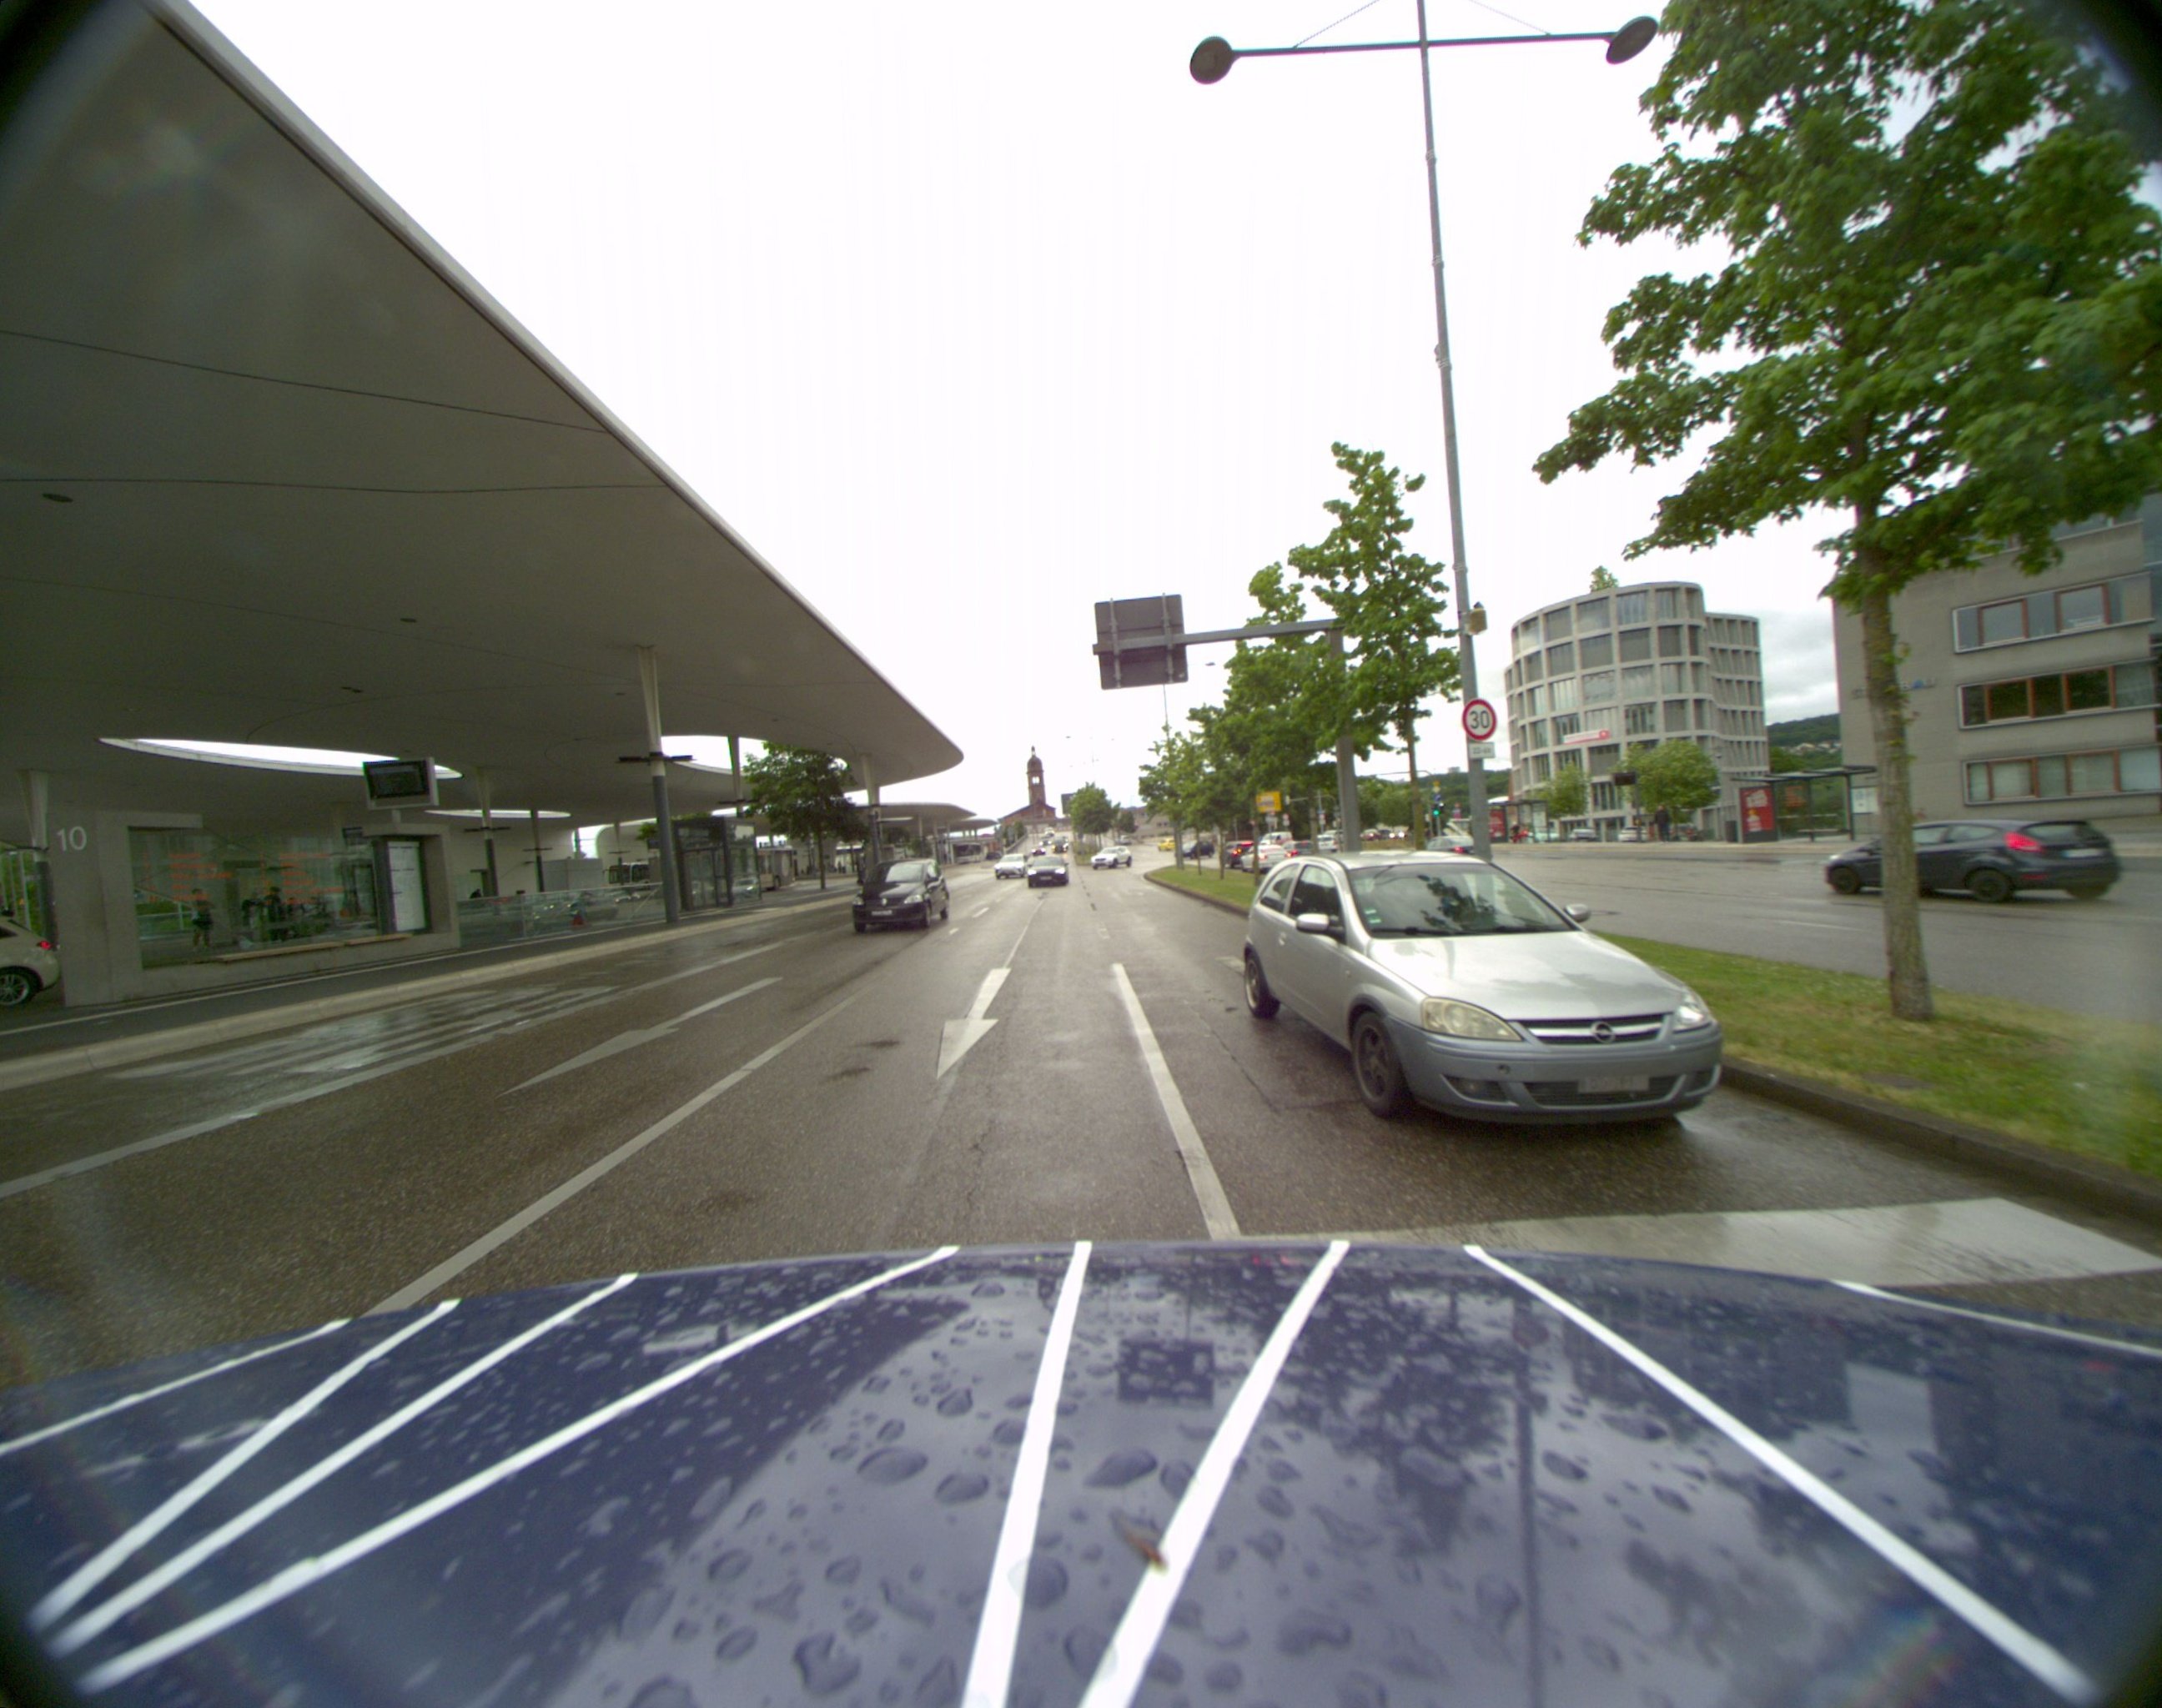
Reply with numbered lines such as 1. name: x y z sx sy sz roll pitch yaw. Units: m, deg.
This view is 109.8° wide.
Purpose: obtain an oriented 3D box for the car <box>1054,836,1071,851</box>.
1. car: -2.640 -1.532 106.989 1.999 2.002 3.997 -3 1 -6

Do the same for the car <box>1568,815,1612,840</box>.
1. car: 37.643 -1.941 56.148 1.872 1.692 4.165 -1 2 45

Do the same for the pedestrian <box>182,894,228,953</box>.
1. pedestrian: -23.349 1.844 20.261 0.478 1.505 0.535 -3 1 3

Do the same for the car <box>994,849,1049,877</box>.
1. car: -3.783 0.560 49.263 1.808 1.550 4.055 -2 1 24

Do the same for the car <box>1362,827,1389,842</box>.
1. car: 37.481 -2.479 96.714 1.872 1.625 4.165 -2 1 40

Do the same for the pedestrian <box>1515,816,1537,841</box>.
1. pedestrian: 27.810 -1.606 47.511 0.983 1.482 0.734 -2 2 10

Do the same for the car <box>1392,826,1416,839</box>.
1. car: 46.036 -3.017 108.175 1.889 1.704 4.225 -1 2 40

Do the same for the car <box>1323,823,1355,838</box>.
1. car: 30.453 -2.745 89.601 4.293 1.625 1.872 -4 2 -44

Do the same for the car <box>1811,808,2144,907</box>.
1. car: 16.106 0.016 14.009 1.681 1.504 3.863 -2 1 3

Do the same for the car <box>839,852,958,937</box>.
1. car: -4.136 0.843 17.898 1.876 1.692 4.156 -2 0 -2

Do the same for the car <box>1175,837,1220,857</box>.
1. car: 10.598 -0.631 68.883 4.165 1.625 1.872 -4 2 -44

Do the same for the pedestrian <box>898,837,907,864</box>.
1. pedestrian: -11.740 -0.242 50.036 0.445 1.754 0.537 -3 1 -7

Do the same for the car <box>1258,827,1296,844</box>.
1. car: 20.583 -1.992 79.750 4.165 1.625 1.872 -4 2 -45

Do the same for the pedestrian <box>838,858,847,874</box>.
1. pedestrian: -31.120 1.563 99.082 1.026 2.002 0.879 -3 2 -20

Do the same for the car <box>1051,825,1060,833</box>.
1. car: -5.716 -5.655 170.683 1.650 1.552 3.647 -3 1 -6

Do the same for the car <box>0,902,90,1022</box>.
1. car: -16.874 1.691 9.844 1.999 1.671 4.540 -2 1 0

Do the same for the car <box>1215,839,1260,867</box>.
1. car: 9.589 -0.090 46.820 2.010 1.545 4.164 -2 1 2

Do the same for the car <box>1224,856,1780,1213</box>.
1. car: 2.262 0.816 5.279 1.699 1.457 3.718 -2 1 -2

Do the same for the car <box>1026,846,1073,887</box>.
1. car: -1.433 0.545 36.301 1.875 1.692 4.157 -2 1 2

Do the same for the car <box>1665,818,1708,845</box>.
1. car: 41.866 -1.595 52.475 1.872 1.692 4.165 -1 2 45

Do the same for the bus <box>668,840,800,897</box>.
1. bus: -21.642 0.872 48.498 2.876 3.064 11.922 -2 0 0

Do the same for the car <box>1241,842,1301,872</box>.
1. car: 9.794 0.115 39.488 2.010 1.345 4.163 -2 1 0

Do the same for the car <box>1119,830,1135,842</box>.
1. car: 7.276 -2.830 120.385 1.876 1.624 4.154 -3 1 -7

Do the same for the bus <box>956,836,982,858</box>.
1. bus: -17.666 -1.107 119.588 3.585 3.080 10.745 -3 1 -9

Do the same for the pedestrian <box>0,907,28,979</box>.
1. pedestrian: -23.285 1.920 16.319 0.478 1.505 0.535 -3 1 3

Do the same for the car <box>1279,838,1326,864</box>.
1. car: 13.630 -0.221 47.023 1.698 1.457 4.451 -2 1 2

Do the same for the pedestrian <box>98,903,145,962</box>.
1. pedestrian: -25.831 2.109 20.461 0.478 1.505 0.525 -3 1 3

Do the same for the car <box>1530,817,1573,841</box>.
1. car: 35.924 -1.907 57.975 1.872 1.692 4.165 -1 2 45

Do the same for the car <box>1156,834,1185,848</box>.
1. car: 11.642 -1.679 99.049 1.879 1.625 4.149 -4 1 -23

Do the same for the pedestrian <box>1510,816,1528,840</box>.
1. pedestrian: 27.935 -1.631 48.497 0.733 1.482 0.734 -2 2 8

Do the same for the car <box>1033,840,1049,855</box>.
1. car: -5.441 -0.944 104.392 1.999 2.002 3.998 -2 1 -2

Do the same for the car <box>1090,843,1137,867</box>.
1. car: 2.561 0.064 59.044 1.872 1.625 4.308 -2 1 29

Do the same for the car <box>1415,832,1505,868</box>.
1. car: 16.649 -0.198 33.612 1.960 1.414 3.999 -2 1 0

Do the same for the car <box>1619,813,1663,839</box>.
1. car: 39.829 -2.003 54.019 1.872 1.692 4.165 -2 1 45

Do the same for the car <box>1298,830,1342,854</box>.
1. car: 17.204 -0.858 54.911 1.960 1.609 4.208 -2 1 2

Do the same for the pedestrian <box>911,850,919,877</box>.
1. pedestrian: -10.963 0.633 50.190 0.446 1.754 0.536 -4 1 -13
